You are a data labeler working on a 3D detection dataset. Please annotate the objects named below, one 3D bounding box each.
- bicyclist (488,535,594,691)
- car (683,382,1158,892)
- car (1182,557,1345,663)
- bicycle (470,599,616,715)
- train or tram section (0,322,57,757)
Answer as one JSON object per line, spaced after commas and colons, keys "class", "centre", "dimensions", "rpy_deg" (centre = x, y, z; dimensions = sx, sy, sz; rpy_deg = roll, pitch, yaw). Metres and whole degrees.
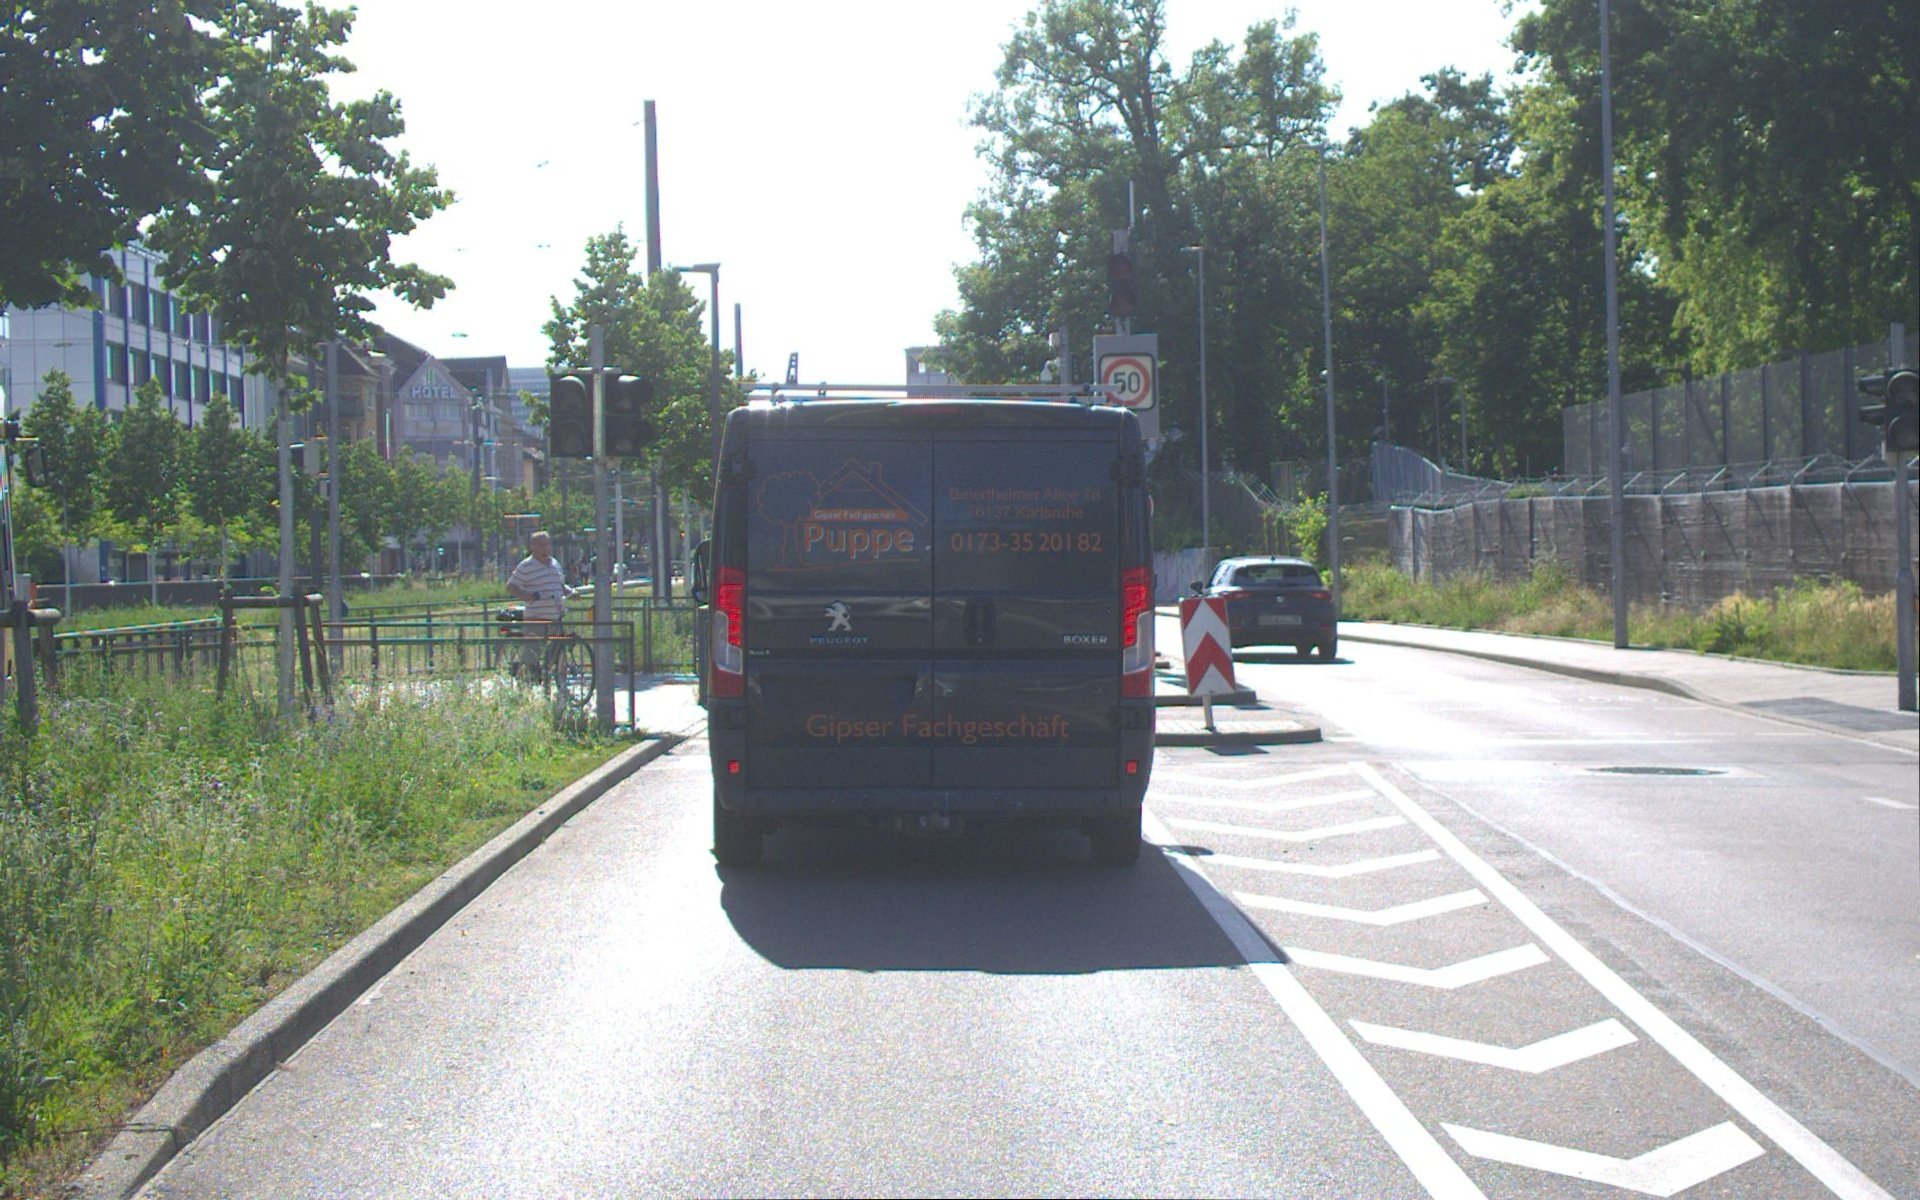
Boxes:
{"class": "bicyclist", "centre": [-4.112, 0.118, 33.722], "dimensions": [0.826, 1.507, 0.730], "rpy_deg": [0, 0, -27]}
{"class": "car", "centre": [-0.235, 0.145, 17.180], "dimensions": [2.082, 2.241, 4.000], "rpy_deg": [0, 0, -2]}
{"class": "car", "centre": [4.304, 0.122, 49.317], "dimensions": [1.763, 1.457, 4.000], "rpy_deg": [0, 0, -3]}
{"class": "bicycle", "centre": [-4.113, 0.545, 33.777], "dimensions": [0.732, 1.087, 2.083], "rpy_deg": [0, 0, -27]}
{"class": "train or tram section", "centre": [-8.987, -0.474, 24.945], "dimensions": [1.993, 3.657, 11.684], "rpy_deg": [0, 0, -1]}
